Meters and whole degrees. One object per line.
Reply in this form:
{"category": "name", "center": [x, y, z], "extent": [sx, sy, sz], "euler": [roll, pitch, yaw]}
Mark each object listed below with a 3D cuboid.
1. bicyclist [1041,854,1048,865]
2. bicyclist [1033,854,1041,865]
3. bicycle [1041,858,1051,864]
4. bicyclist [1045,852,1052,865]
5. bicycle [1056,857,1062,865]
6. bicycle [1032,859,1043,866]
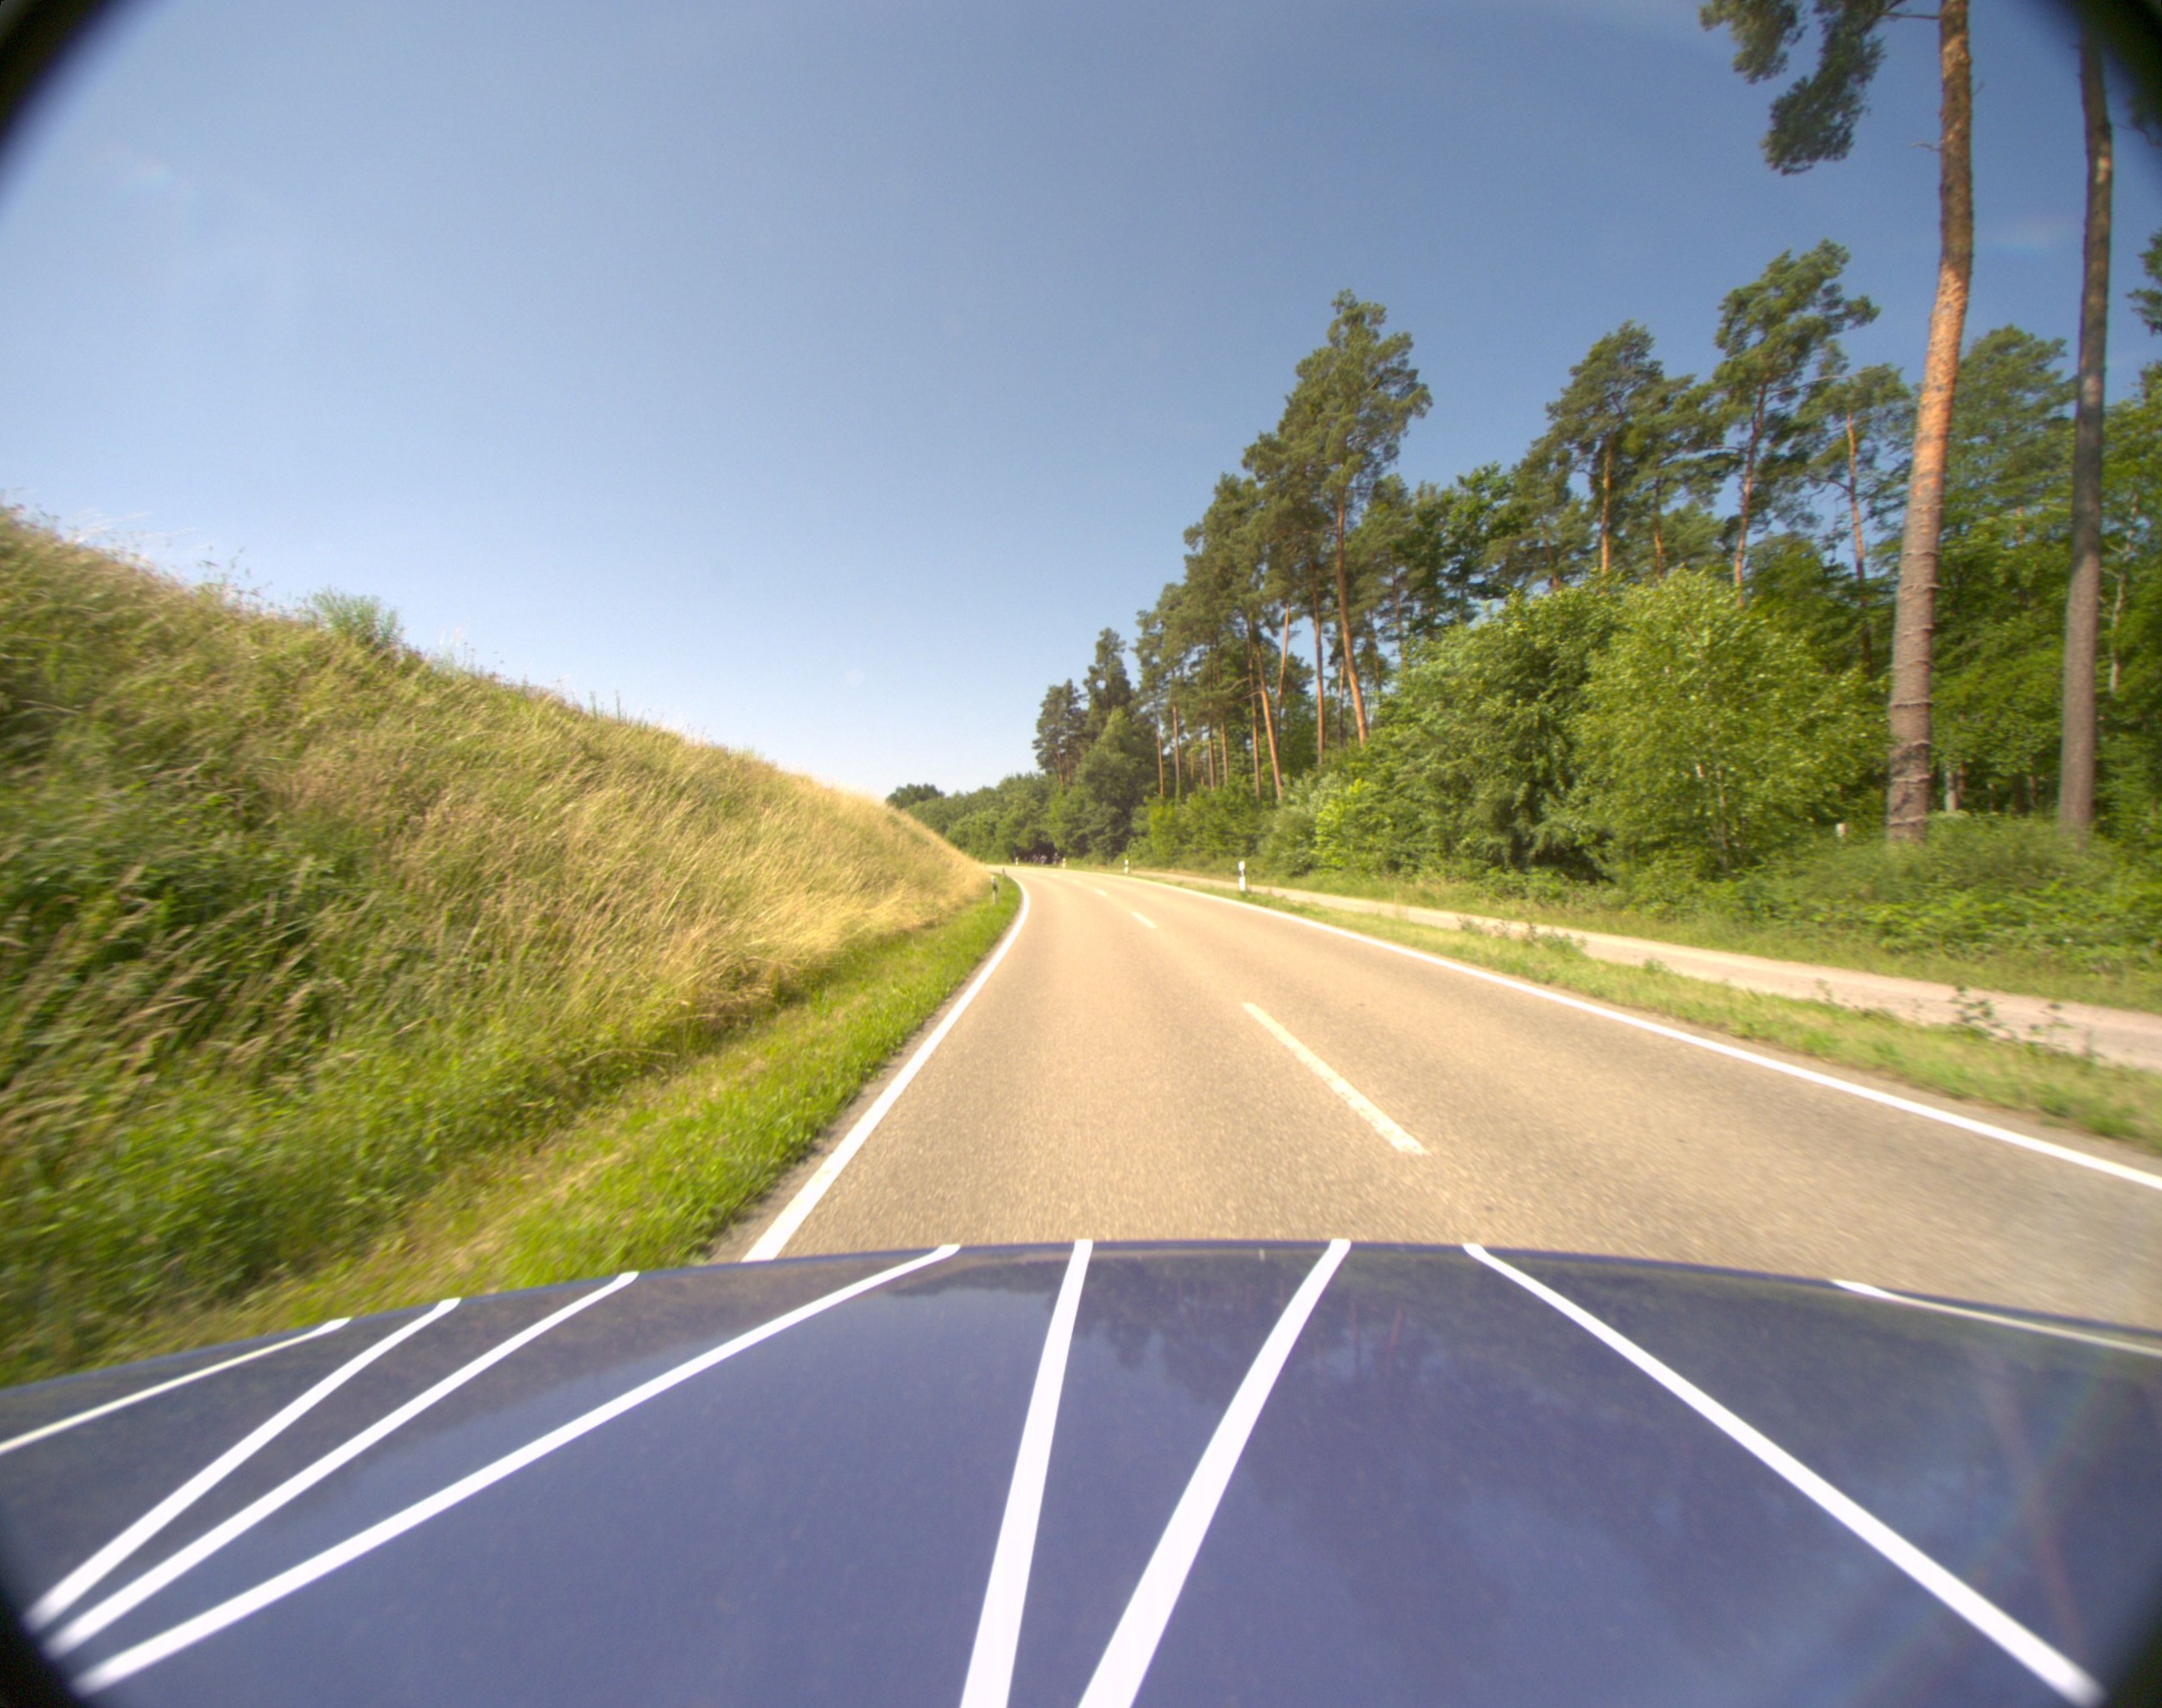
{"category": "bicyclist", "center": [-5.422, 0.805, 112.200], "extent": [0.604, 1.691, 0.851], "euler": [-2, 2, 24]}
{"category": "bicyclist", "center": [-6.492, 0.865, 112.822], "extent": [0.605, 1.536, 0.872], "euler": [-7, 0, 25]}
{"category": "bicycle", "center": [-5.209, 1.057, 112.660], "extent": [0.604, 0.825, 1.988], "euler": [-2, 2, 24]}
{"category": "bicyclist", "center": [-4.653, 0.637, 108.848], "extent": [0.604, 1.709, 0.790], "euler": [-2, 3, 31]}
{"category": "bicycle", "center": [-3.042, 0.980, 106.188], "extent": [0.581, 1.080, 1.448], "euler": [-4, 0, 9]}
{"category": "bicycle", "center": [-6.450, 1.250, 112.832], "extent": [0.605, 0.825, 1.988], "euler": [-7, 0, 25]}
